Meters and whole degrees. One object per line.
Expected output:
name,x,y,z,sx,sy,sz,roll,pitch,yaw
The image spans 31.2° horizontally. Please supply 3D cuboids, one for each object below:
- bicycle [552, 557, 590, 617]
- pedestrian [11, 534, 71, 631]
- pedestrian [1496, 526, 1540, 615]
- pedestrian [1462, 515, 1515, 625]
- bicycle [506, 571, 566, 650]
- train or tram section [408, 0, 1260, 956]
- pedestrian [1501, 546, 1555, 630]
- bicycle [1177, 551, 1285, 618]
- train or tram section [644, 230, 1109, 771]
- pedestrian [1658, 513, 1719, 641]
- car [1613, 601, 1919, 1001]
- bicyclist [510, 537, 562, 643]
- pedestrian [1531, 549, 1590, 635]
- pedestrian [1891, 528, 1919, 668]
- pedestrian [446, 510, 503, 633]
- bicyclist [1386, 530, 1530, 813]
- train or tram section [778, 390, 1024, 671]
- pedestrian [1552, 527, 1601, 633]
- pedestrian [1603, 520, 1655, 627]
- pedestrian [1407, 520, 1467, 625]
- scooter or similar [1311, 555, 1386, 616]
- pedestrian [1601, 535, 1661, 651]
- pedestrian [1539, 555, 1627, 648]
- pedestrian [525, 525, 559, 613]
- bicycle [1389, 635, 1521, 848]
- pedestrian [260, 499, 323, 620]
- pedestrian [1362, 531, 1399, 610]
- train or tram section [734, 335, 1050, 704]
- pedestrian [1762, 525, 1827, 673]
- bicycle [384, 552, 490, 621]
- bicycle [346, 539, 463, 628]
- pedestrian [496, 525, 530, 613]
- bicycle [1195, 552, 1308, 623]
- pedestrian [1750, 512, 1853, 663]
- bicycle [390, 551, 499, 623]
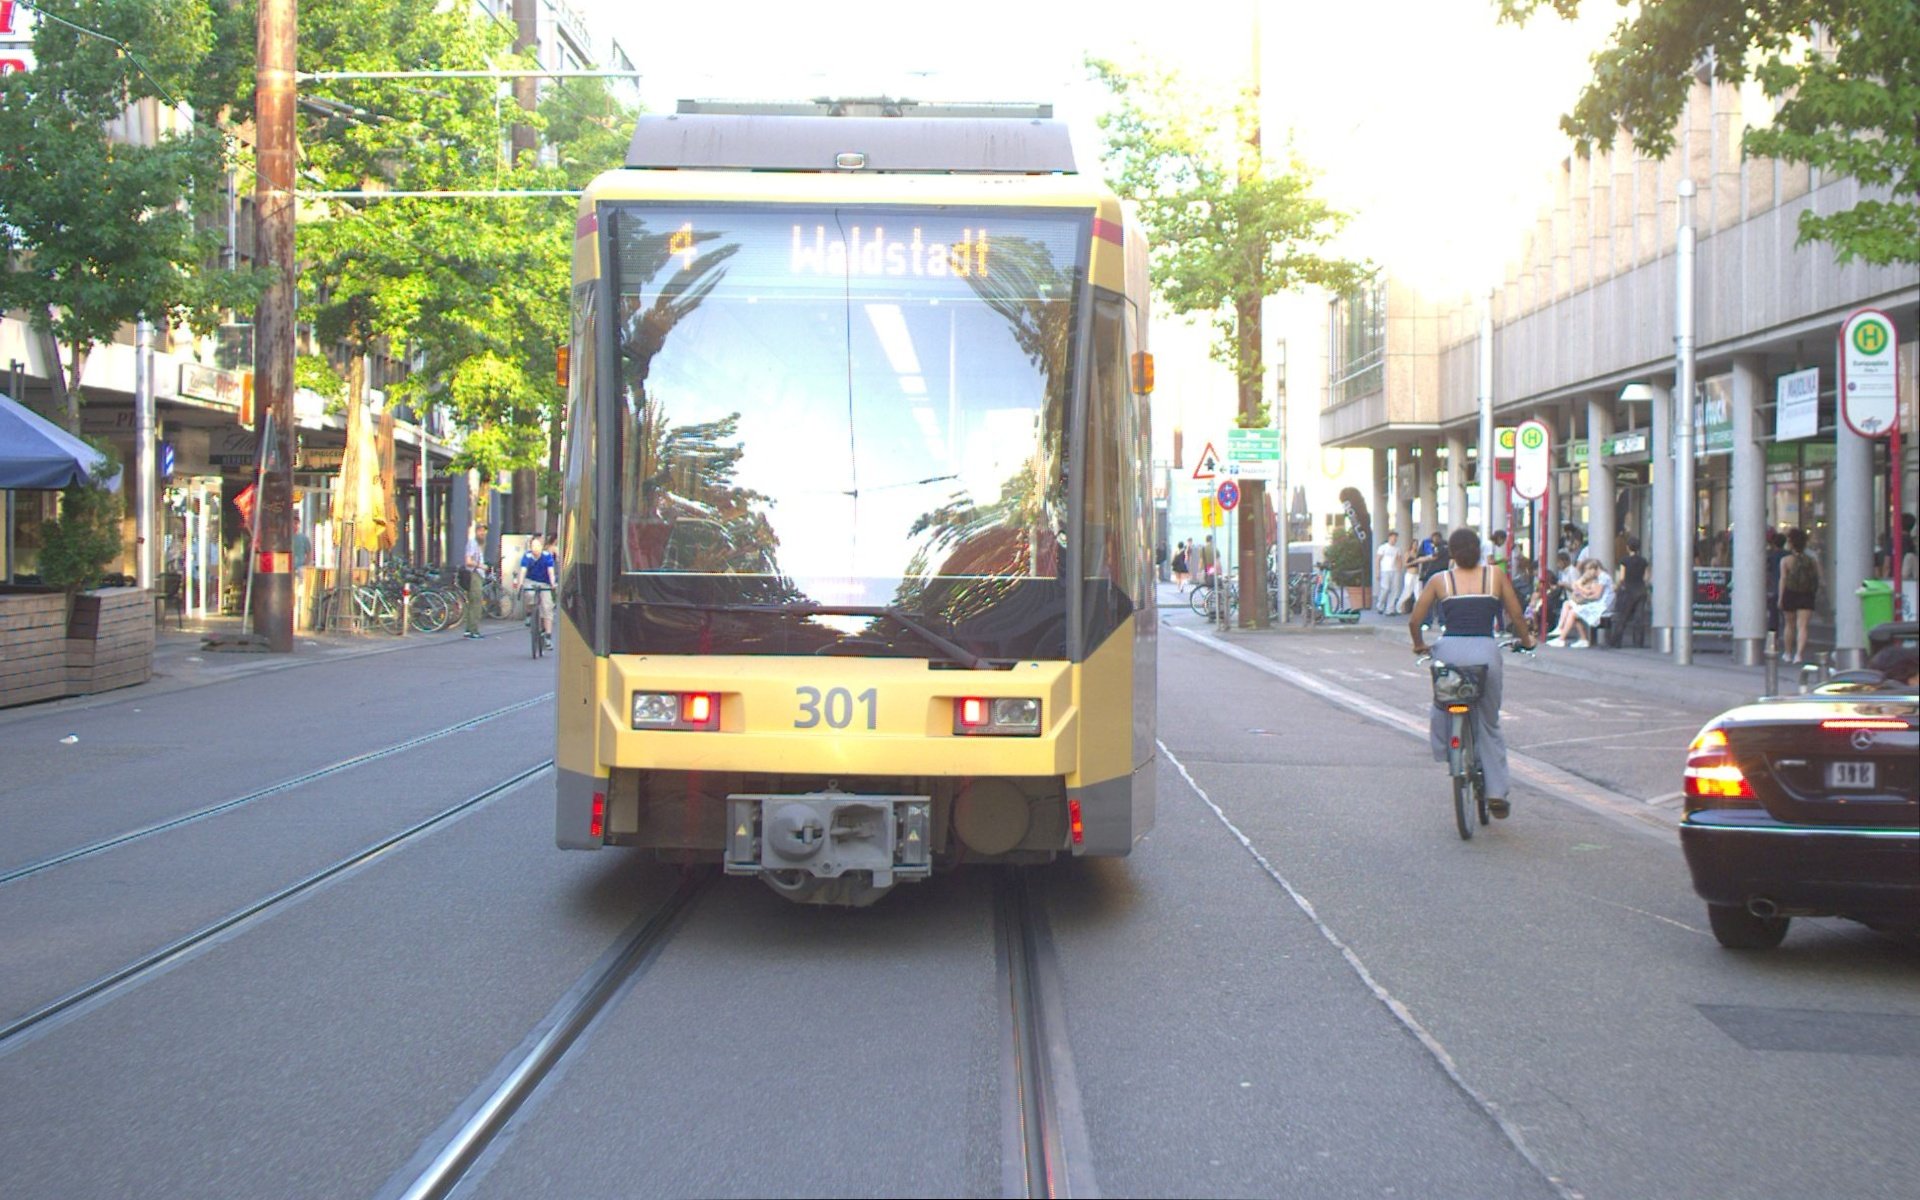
bicycle,-7.521,-0.255,66.597,0.611,1.122,2.252,3,0,-5
pedestrian,-12.799,-0.249,47.881,0.574,1.315,0.725,3,0,1
pedestrian,10.693,-0.565,65.902,0.701,1.678,0.680,-1,2,1
pedestrian,8.602,-0.484,55.947,0.749,1.776,0.891,1,0,4
bicycle,-5.723,0.135,46.429,0.641,1.019,1.589,2,1,-2
train or tram section,-0.495,-0.553,17.449,3.016,3.511,10.371,0,1,0
pedestrian,9.278,-0.199,56.178,0.739,1.323,0.720,-1,2,1
bicycle,6.149,-0.349,78.079,2.328,1.466,0.791,1,0,-3
train or tram section,-0.597,-0.728,27.842,3.007,3.511,10.402,1,1,0
pedestrian,10.680,-0.343,50.419,0.701,1.833,0.829,-1,2,1
car,4.325,0.733,14.508,1.804,1.344,4.439,1,2,29
bicyclist,-5.726,-0.133,46.480,0.620,1.411,0.700,1,0,-2
pedestrian,9.497,-0.132,54.378,0.806,1.323,0.626,-1,2,1
pedestrian,11.382,-0.040,40.476,0.596,1.610,0.829,-1,2,1
pedestrian,-7.559,-0.441,53.507,0.750,1.873,0.576,3,0,-4
bicyclist,2.785,0.390,19.209,0.727,1.521,0.733,2,0,9
train or tram section,-0.801,-0.961,49.176,3.044,3.511,10.531,1,1,-1
pedestrian,10.913,-0.366,60.874,0.701,1.833,0.829,-1,2,1
pedestrian,11.616,-0.467,59.724,0.701,1.833,0.829,-1,2,1
pedestrian,8.204,-0.466,59.157,0.888,1.776,0.751,1,0,-1
scooter or similar,7.742,-0.295,68.536,1.379,1.206,0.516,0,0,-13
pedestrian,9.595,-0.103,49.195,0.701,1.632,0.646,-1,2,1
pedestrian,9.164,0.011,50.614,1.112,1.323,0.926,-1,1,1
pedestrian,-8.151,-0.601,67.026,0.551,1.681,0.576,3,0,-4
bicycle,2.768,0.758,19.204,0.656,1.057,2.056,2,1,8
pedestrian,-11.223,-0.681,57.720,0.849,2.007,0.921,1,0,0
pedestrian,9.157,-0.644,74.921,0.701,1.678,0.680,-1,2,1
train or tram section,-0.697,-0.848,38.477,3.003,3.511,10.846,1,1,0
pedestrian,10.634,-0.021,43.805,0.596,1.833,0.829,-1,2,1
bicycle,-9.207,-0.237,60.576,1.733,1.122,0.563,3,0,-3
bicycle,-9.116,-0.274,56.387,1.796,1.355,0.660,3,0,-12
pedestrian,-8.803,-0.610,67.686,0.573,1.681,0.553,3,0,-9
bicycle,6.268,-0.268,73.986,2.328,1.466,0.791,1,0,-3
pedestrian,10.685,-0.170,43.691,1.053,1.870,0.929,-1,2,1
bicycle,-8.709,-0.218,58.138,1.733,1.122,0.613,3,0,-6
